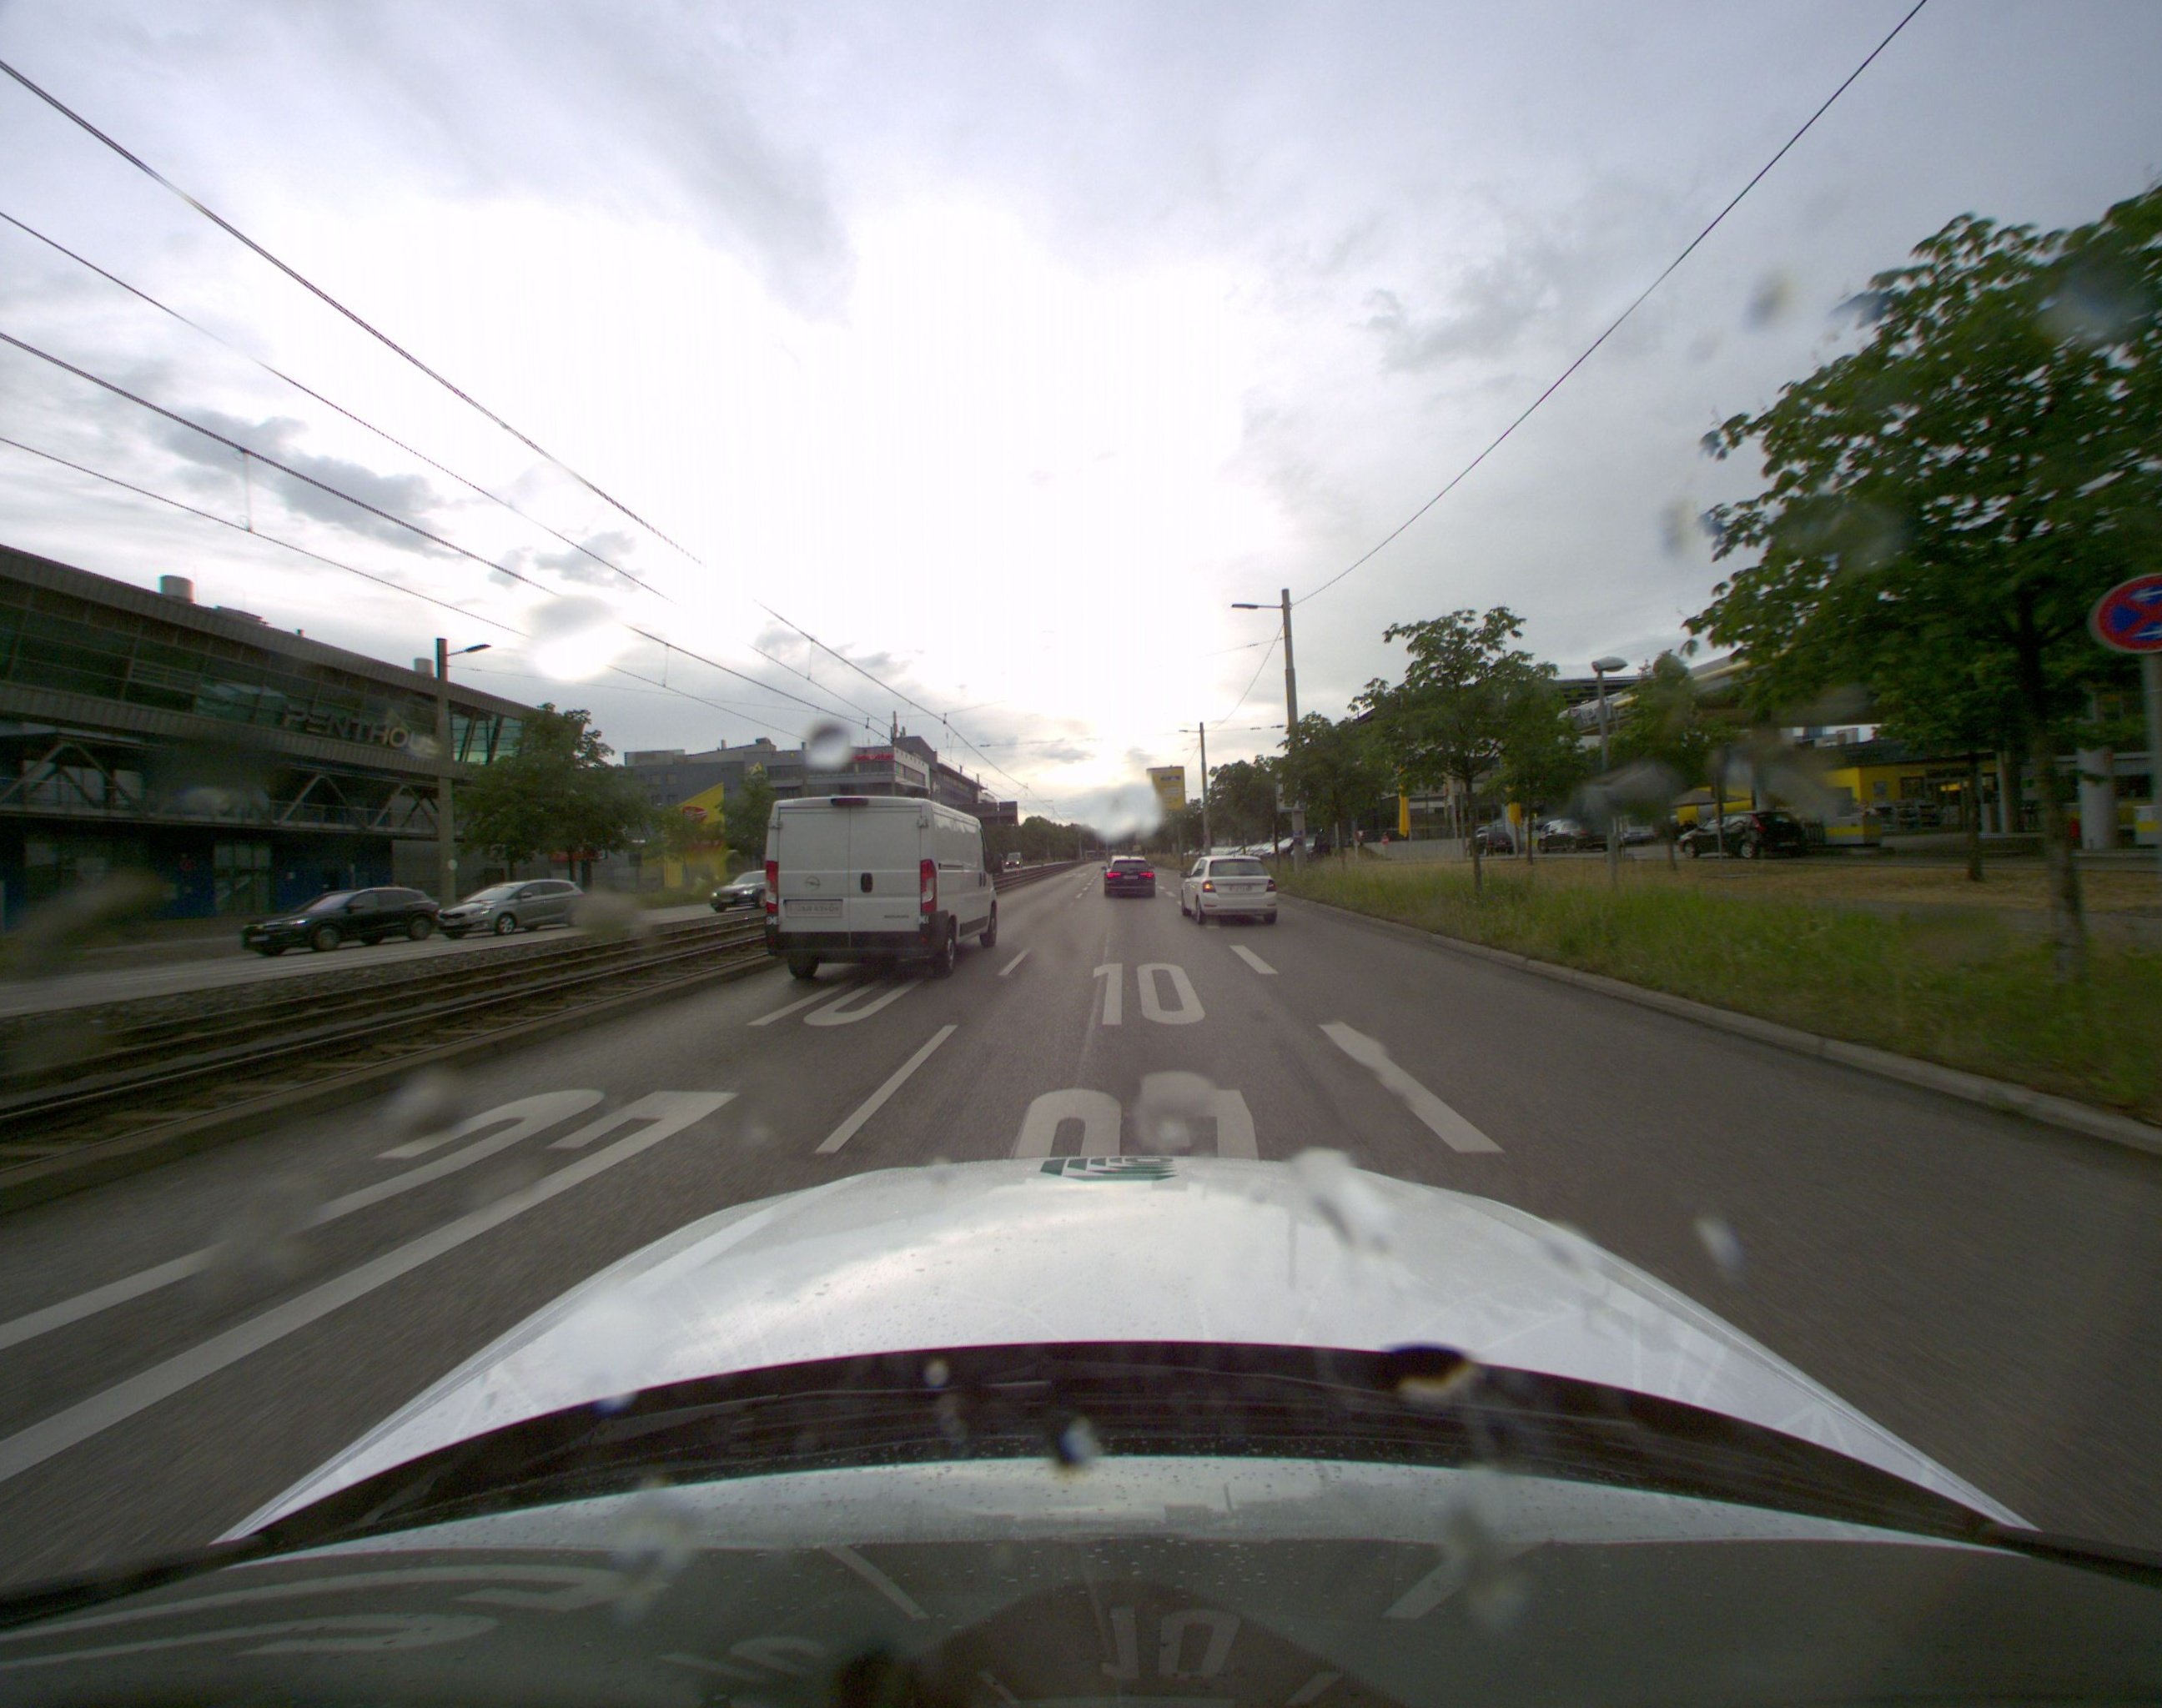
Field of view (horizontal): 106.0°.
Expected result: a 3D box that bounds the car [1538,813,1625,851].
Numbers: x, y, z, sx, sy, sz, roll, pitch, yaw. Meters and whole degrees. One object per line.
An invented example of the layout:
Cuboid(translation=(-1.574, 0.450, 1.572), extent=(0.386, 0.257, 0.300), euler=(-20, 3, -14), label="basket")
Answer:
Cuboid(translation=(25.382, -1.053, 41.508), extent=(1.986, 1.728, 4.002), euler=(-3, 0, 2), label="car")

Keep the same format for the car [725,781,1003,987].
Cuboid(translation=(-2.678, 0.328, 11.609), extent=(2.435, 2.294, 4.908), euler=(0, 0, 2), label="car")

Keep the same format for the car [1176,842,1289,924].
Cuboid(translation=(3.308, 0.617, 18.547), extent=(1.823, 1.656, 3.999), euler=(0, -1, 0), label="car")

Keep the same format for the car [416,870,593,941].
Cuboid(translation=(-17.378, 1.480, 24.871), extent=(1.791, 1.784, 4.499), euler=(-3, 0, 6), label="car")

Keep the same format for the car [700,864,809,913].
Cuboid(translation=(-12.660, 1.297, 32.001), extent=(1.791, 1.620, 4.963), euler=(-3, 0, 6), label="car")

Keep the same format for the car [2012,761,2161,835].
Cuboid(translation=(32.243, -1.688, 25.478), extent=(1.865, 2.014, 3.771), euler=(0, -1, -1), label="car")

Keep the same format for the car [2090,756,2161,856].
Cuboid(translation=(22.988, -1.046, 15.719), extent=(1.987, 2.032, 4.000), euler=(-4, -1, 1), label="car")

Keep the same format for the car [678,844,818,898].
Cuboid(translation=(-16.054, 0.808, 39.780), extent=(2.192, 2.409, 6.598), euler=(-1, -1, 25), label="car")

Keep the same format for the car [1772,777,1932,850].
Cuboid(translation=(23.451, -1.152, 24.958), extent=(1.672, 2.014, 3.545), euler=(-1, -1, 4), label="car")

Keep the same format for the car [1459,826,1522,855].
Cuboid(translation=(24.332, -0.777, 48.516), extent=(1.785, 1.591, 4.002), euler=(-3, 0, 2), label="car")

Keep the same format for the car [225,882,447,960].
Cuboid(translation=(-20.833, 1.788, 23.095), extent=(1.791, 1.744, 4.499), euler=(-3, 0, 6), label="car")

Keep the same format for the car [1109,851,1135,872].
Cuboid(translation=(3.196, 0.607, 63.541), extent=(1.886, 1.465, 3.911), euler=(-2, -1, 3), label="car")

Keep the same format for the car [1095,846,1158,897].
Cuboid(translation=(1.567, 0.631, 29.510), extent=(1.988, 1.637, 3.998), euler=(-2, -1, -1), label="car")

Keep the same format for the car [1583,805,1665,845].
Cuboid(translation=(30.788, -1.585, 46.313), extent=(1.986, 2.013, 4.002), euler=(-3, 0, 2), label="car")
